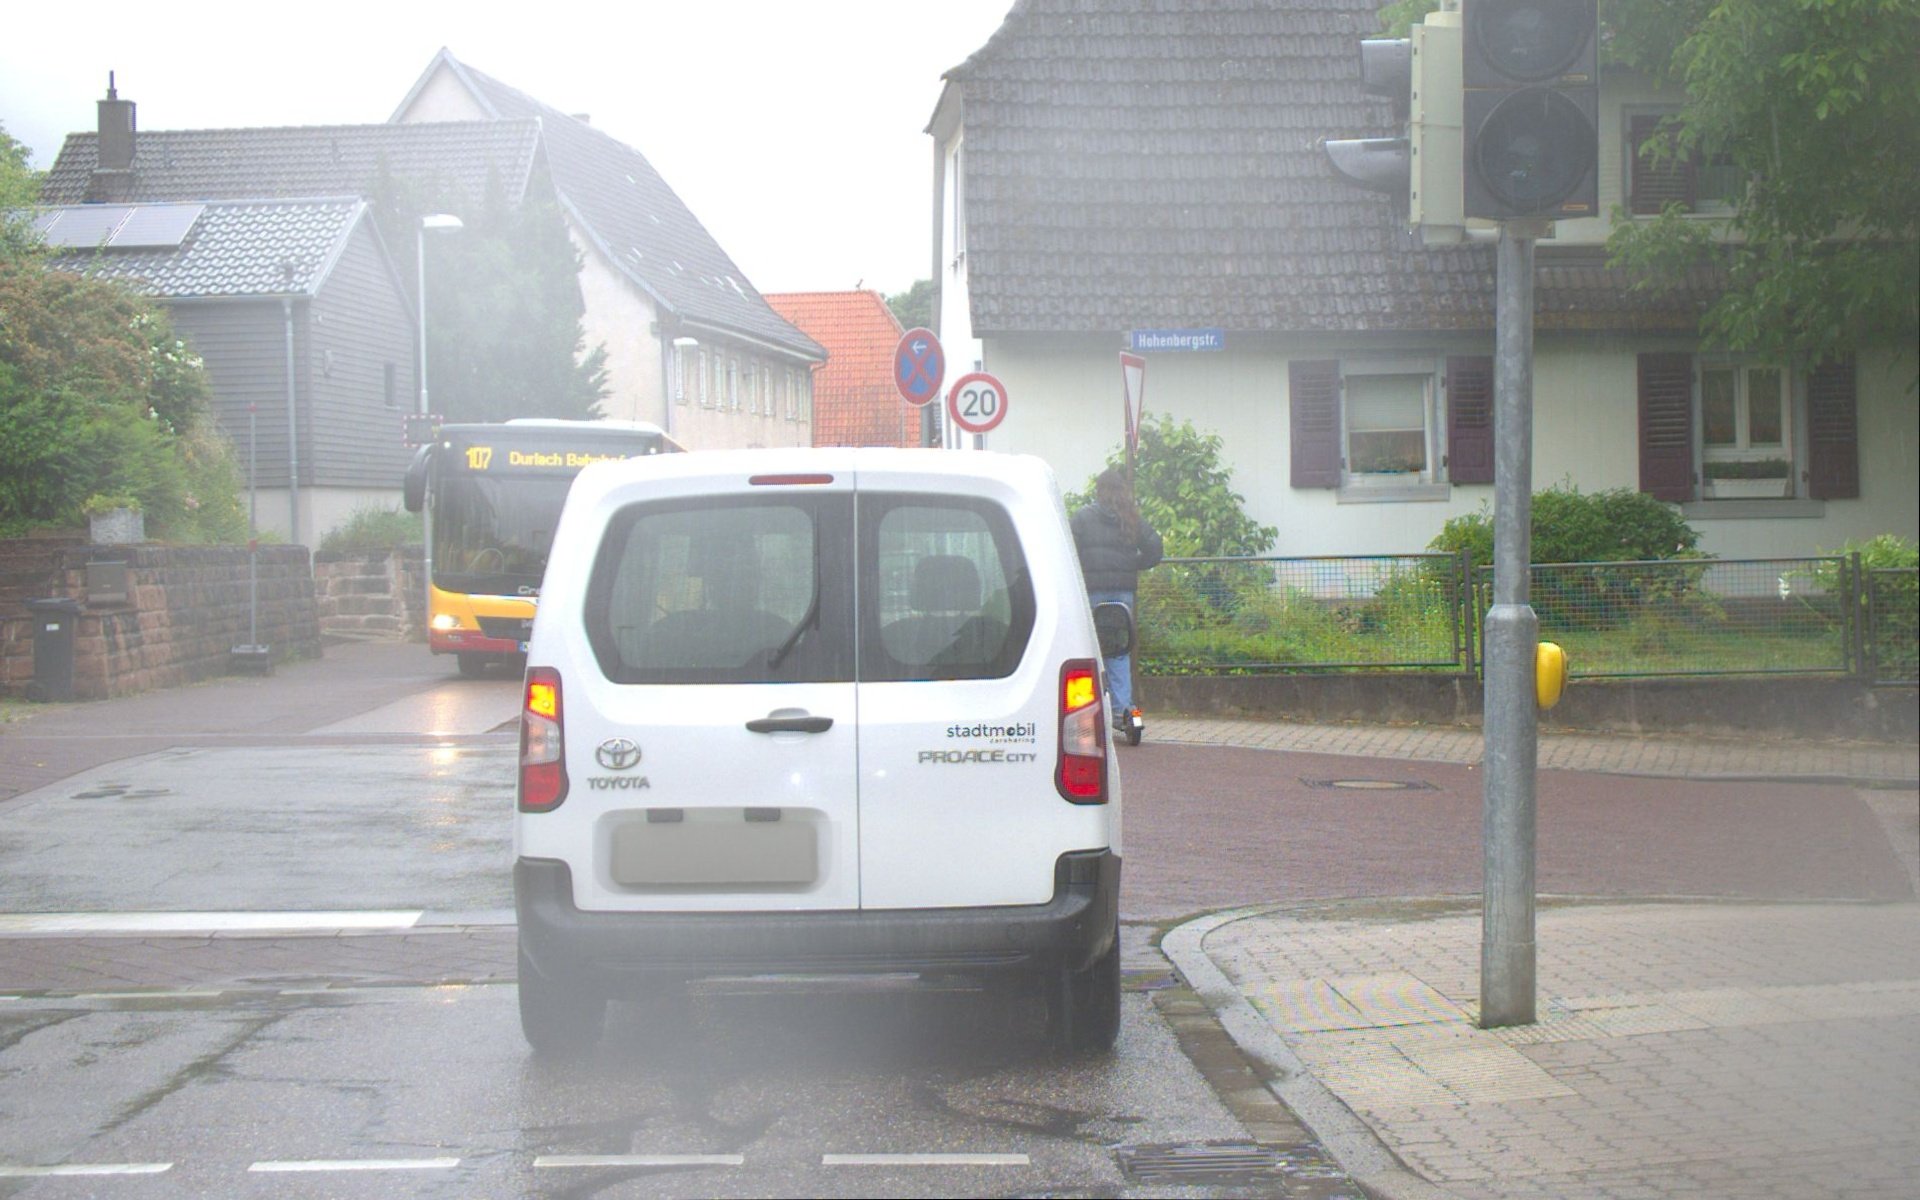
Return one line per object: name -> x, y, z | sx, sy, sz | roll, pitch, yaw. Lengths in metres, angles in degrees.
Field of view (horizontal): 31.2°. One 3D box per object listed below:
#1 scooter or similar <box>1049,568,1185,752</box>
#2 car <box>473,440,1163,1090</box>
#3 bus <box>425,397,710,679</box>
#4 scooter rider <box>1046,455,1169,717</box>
scooter or similar -> 1.024, 0.377, 22.775 | 0.620, 1.123, 1.402 | 0, 3, -9
car -> -0.460, 0.420, 11.420 | 1.894, 1.787, 3.814 | 0, 1, -2
bus -> -4.607, -0.934, 42.598 | 2.649, 2.989, 12.195 | 0, 3, -3
scooter rider -> 0.980, -0.105, 22.947 | 0.730, 1.727, 0.518 | 0, 2, -10
